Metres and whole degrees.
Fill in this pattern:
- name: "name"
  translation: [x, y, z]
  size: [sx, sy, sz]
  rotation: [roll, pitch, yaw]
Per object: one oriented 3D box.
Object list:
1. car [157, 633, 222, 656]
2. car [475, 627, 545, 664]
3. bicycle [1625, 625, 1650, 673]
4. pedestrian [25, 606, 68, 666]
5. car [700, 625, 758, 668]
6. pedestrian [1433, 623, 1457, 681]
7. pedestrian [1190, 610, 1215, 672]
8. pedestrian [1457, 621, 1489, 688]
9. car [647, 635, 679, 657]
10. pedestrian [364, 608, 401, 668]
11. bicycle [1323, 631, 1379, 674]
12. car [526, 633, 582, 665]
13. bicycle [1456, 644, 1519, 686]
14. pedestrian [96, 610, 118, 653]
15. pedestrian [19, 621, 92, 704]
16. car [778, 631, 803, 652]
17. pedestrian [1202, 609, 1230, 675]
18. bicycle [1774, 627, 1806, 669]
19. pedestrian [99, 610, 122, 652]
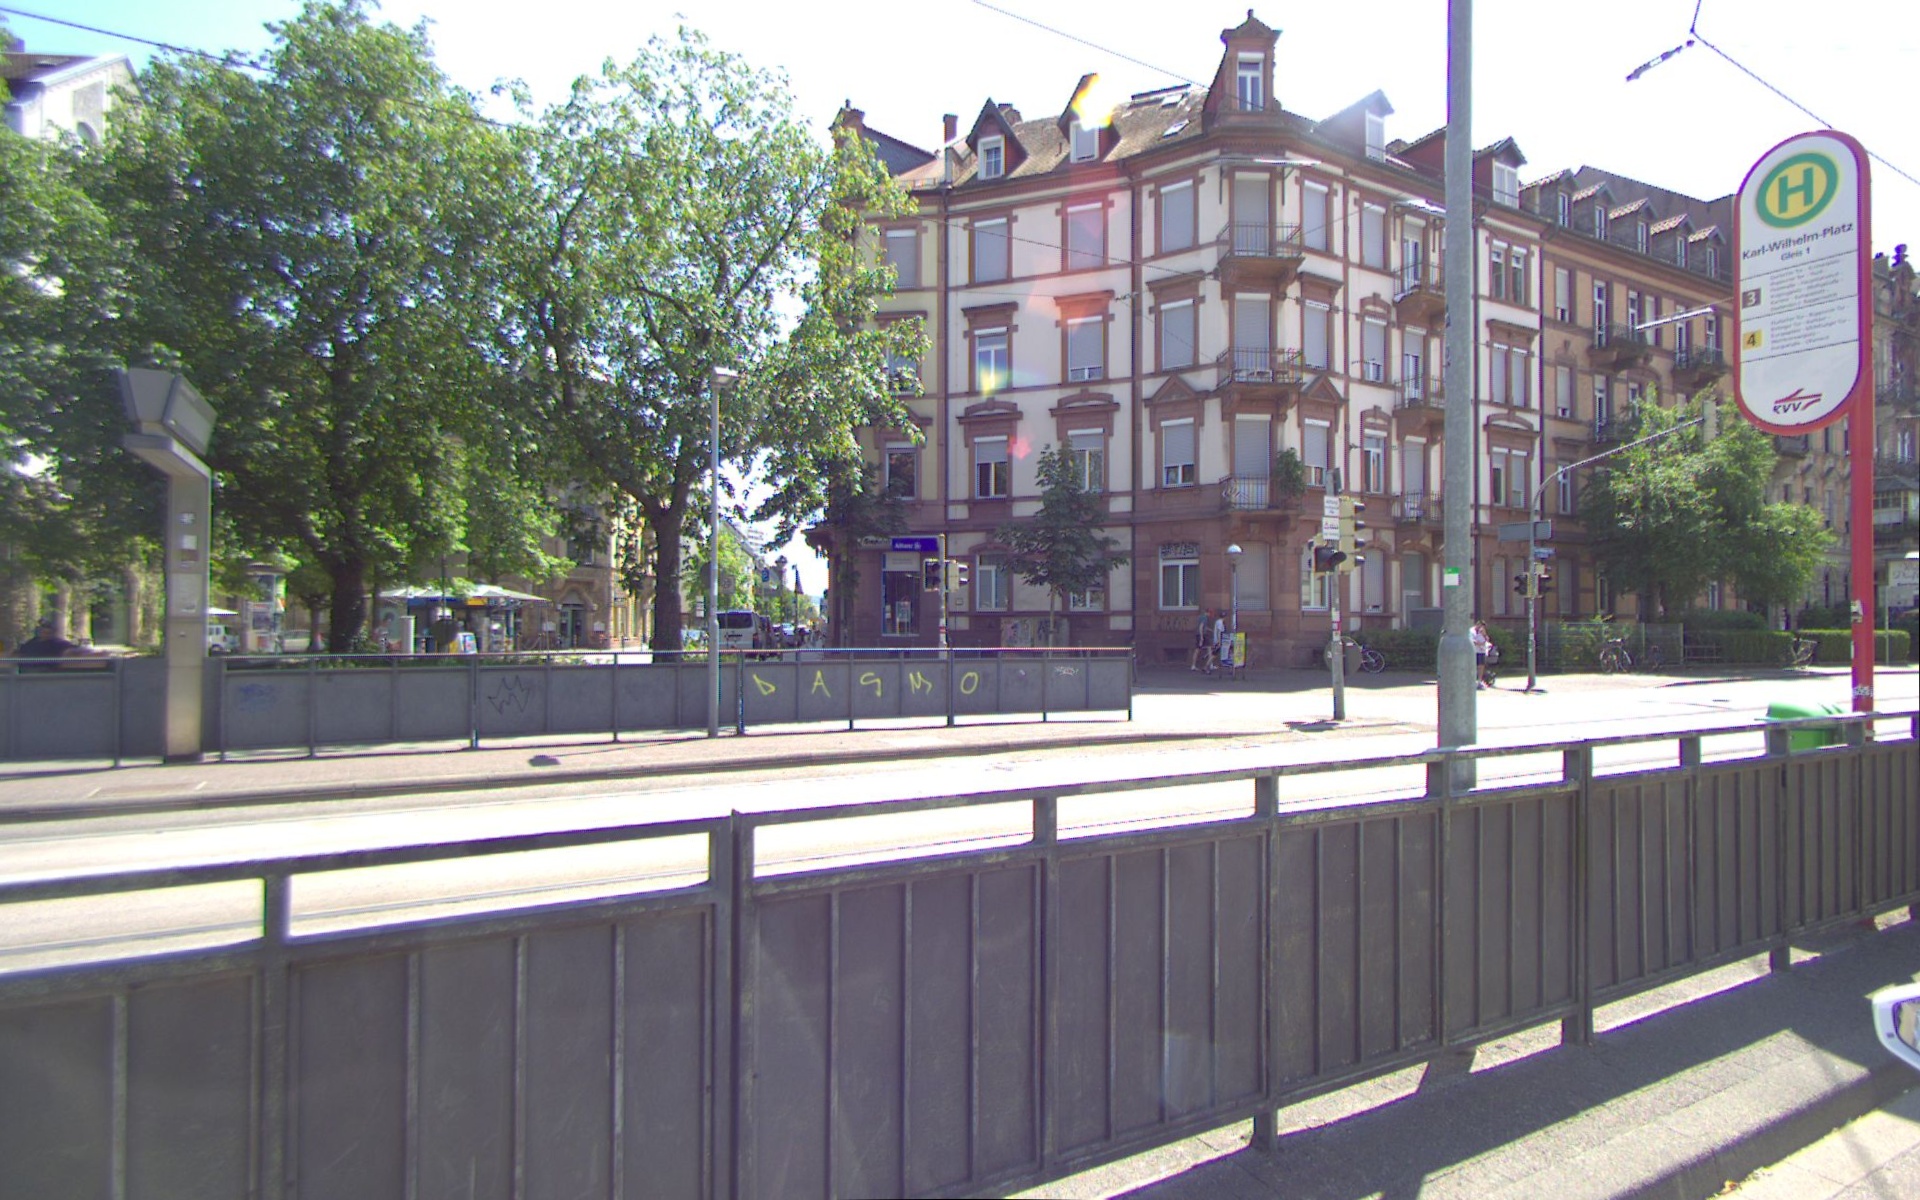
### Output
- name: "car"
  translation: [-31.114, 1.781, 40.603]
  size: [0.847, 0.876, 1.910]
  rotation: [0, -1, 35]
- name: "car"
  translation: [-18.880, 1.876, 42.328]
  size: [1.512, 1.461, 3.739]
  rotation: [1, -1, -5]
- name: "bicycle"
  translation: [21.082, 1.503, 31.286]
  size: [0.606, 1.414, 2.301]
  rotation: [0, -1, 34]
- name: "pedestrian"
  translation: [-27.594, 1.084, 30.348]
  size: [0.703, 1.774, 0.616]
  rotation: [1, -1, -6]
- name: "car"
  translation: [-8.433, 1.657, 36.869]
  size: [1.512, 1.461, 3.739]
  rotation: [1, -1, -5]
- name: "pedestrian"
  translation: [13.060, 1.382, 27.052]
  size: [0.497, 1.536, 0.469]
  rotation: [1, -1, 18]
- name: "pedestrian"
  translation: [7.124, 1.191, 29.495]
  size: [0.500, 1.791, 0.527]
  rotation: [0, -1, 39]
- name: "pedestrian"
  translation: [13.065, 1.378, 25.579]
  size: [0.641, 1.637, 0.469]
  rotation: [1, 2, 18]
- name: "car"
  translation: [-20.974, 3.222, 71.050]
  size: [1.513, 1.461, 3.738]
  rotation: [1, -1, -6]
- name: "pedestrian"
  translation: [-19.597, 1.284, 34.072]
  size: [0.797, 2.040, 0.716]
  rotation: [0, -1, 9]
- name: "bicycle"
  translation: [11.566, 1.541, 29.712]
  size: [1.494, 1.185, 0.364]
  rotation: [1, 0, 34]
- name: "car"
  translation: [-20.268, 2.418, 50.228]
  size: [1.512, 1.461, 3.739]
  rotation: [1, -1, -5]
- name: "bicycle"
  translation: [13.728, 1.686, 26.162]
  size: [1.375, 1.027, 0.389]
  rotation: [1, -1, 21]
- name: "pedestrian"
  translation: [-32.912, 1.207, 38.765]
  size: [0.520, 1.644, 0.493]
  rotation: [1, -1, -30]
- name: "pedestrian"
  translation: [-14.610, 0.995, 16.230]
  size: [0.607, 1.304, 0.646]
  rotation: [1, -1, 21]
- name: "car"
  translation: [-12.581, 3.037, 74.814]
  size: [1.512, 1.461, 3.739]
  rotation: [1, -1, -5]
- name: "pedestrian"
  translation: [7.320, 1.193, 28.738]
  size: [0.556, 1.849, 0.632]
  rotation: [0, -1, 39]
- name: "bicycle"
  translation: [28.506, 1.634, 34.534]
  size: [0.583, 1.374, 2.434]
  rotation: [0, -1, 34]
- name: "pedestrian"
  translation: [-33.175, 1.212, 39.244]
  size: [0.554, 1.644, 0.510]
  rotation: [1, -1, -30]
